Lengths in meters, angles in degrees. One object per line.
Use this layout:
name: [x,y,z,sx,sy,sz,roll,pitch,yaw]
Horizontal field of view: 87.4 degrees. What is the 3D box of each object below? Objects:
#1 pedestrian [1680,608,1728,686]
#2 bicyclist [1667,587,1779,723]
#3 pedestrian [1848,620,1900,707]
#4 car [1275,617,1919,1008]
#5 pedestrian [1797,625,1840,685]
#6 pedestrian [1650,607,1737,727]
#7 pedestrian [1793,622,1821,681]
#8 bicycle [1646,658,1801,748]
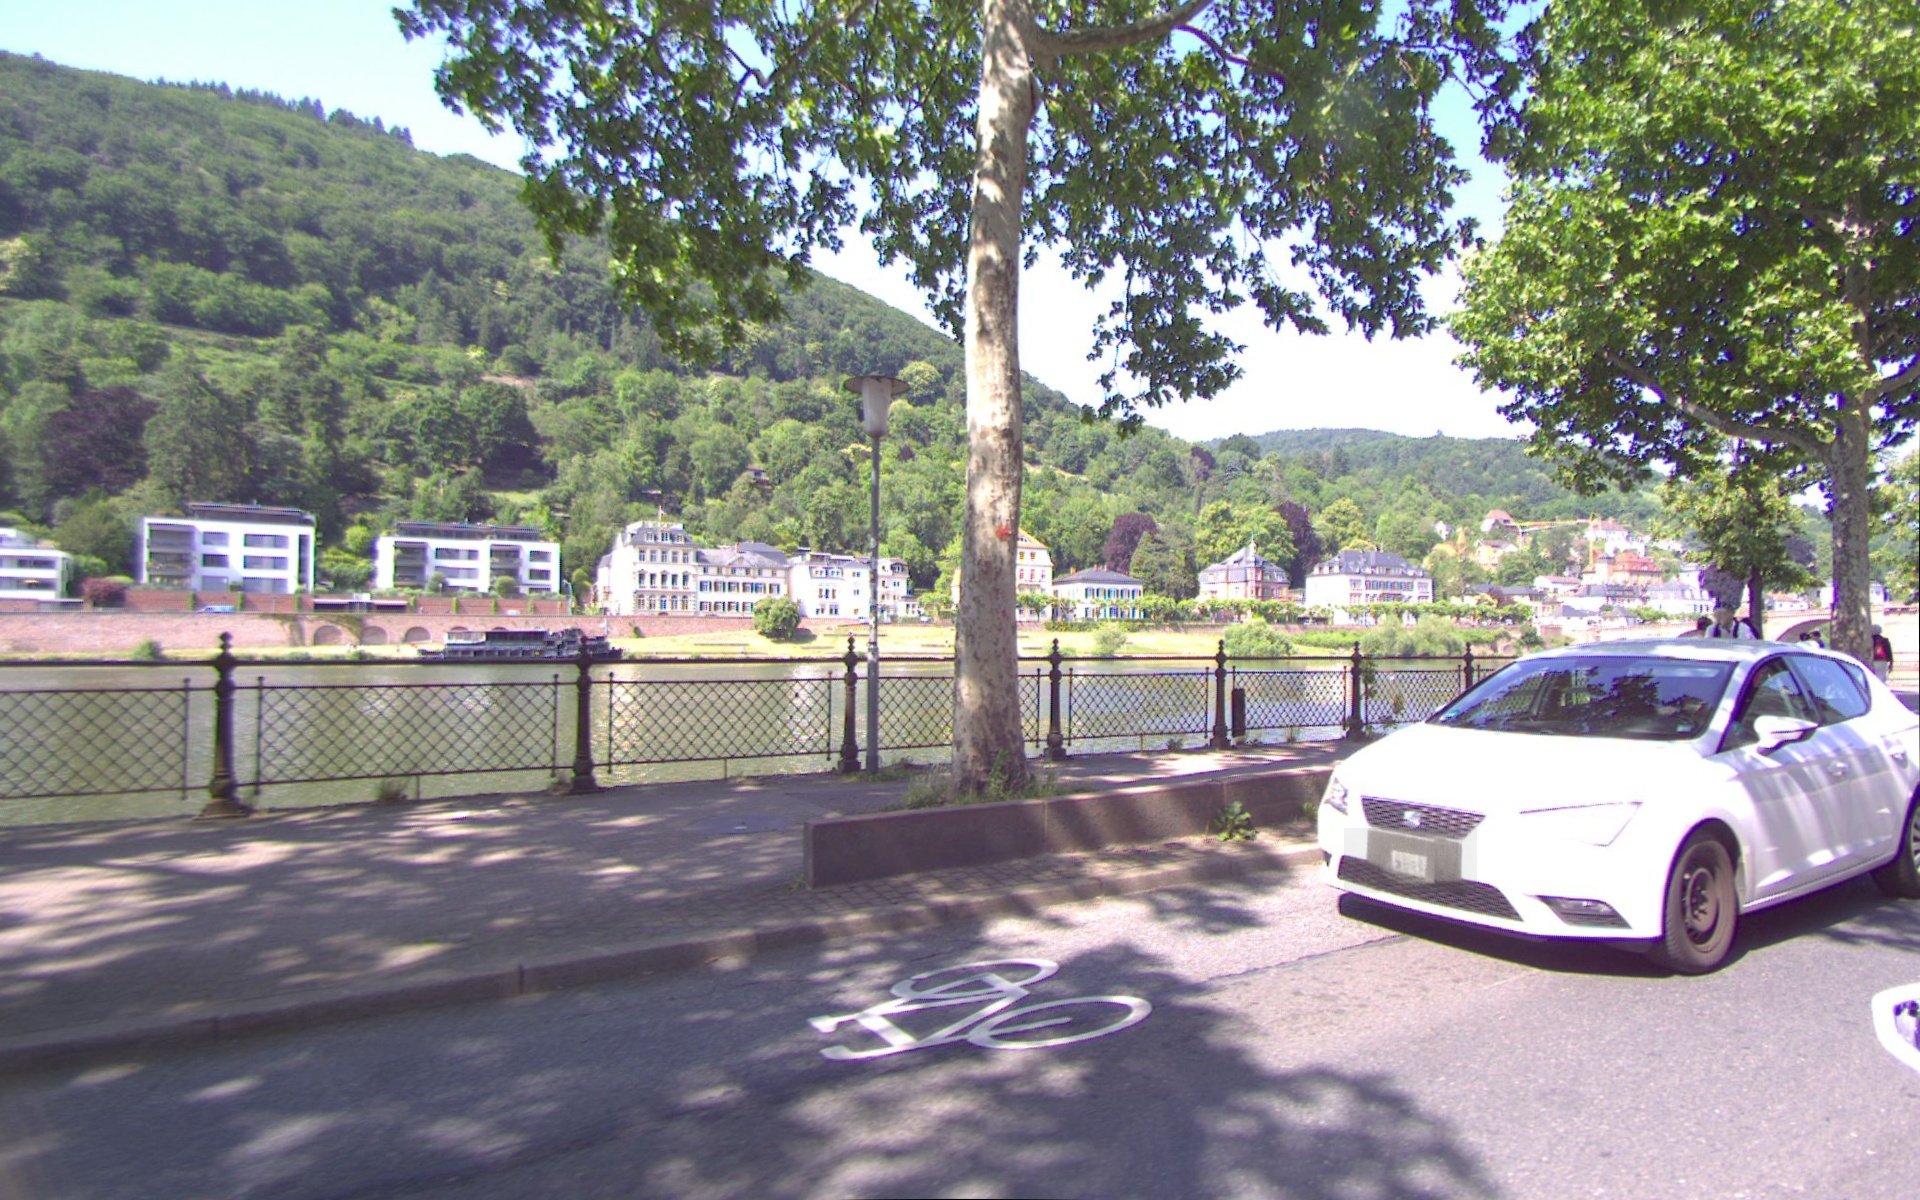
pedestrian: [19.101,1.203,25.795,0.877,1.970,0.690,2,-1,-31]
bicyclist: [9.390,0.668,12.361,1.076,1.604,0.716,2,-1,-29]
pedestrian: [18.649,1.277,20.497,0.753,1.705,0.650,2,2,-44]
car: [3.837,0.857,5.655,4.045,1.464,1.692,1,1,-31]
pedestrian: [23.938,1.522,28.014,0.654,1.637,0.692,2,-1,-23]
pedestrian: [10.187,0.912,13.950,0.688,1.607,0.758,2,-1,-31]
pedestrian: [23.462,1.417,27.820,0.444,1.618,0.413,2,-1,-23]
bicycle: [9.421,1.234,12.379,1.927,0.992,0.752,1,-1,-27]
